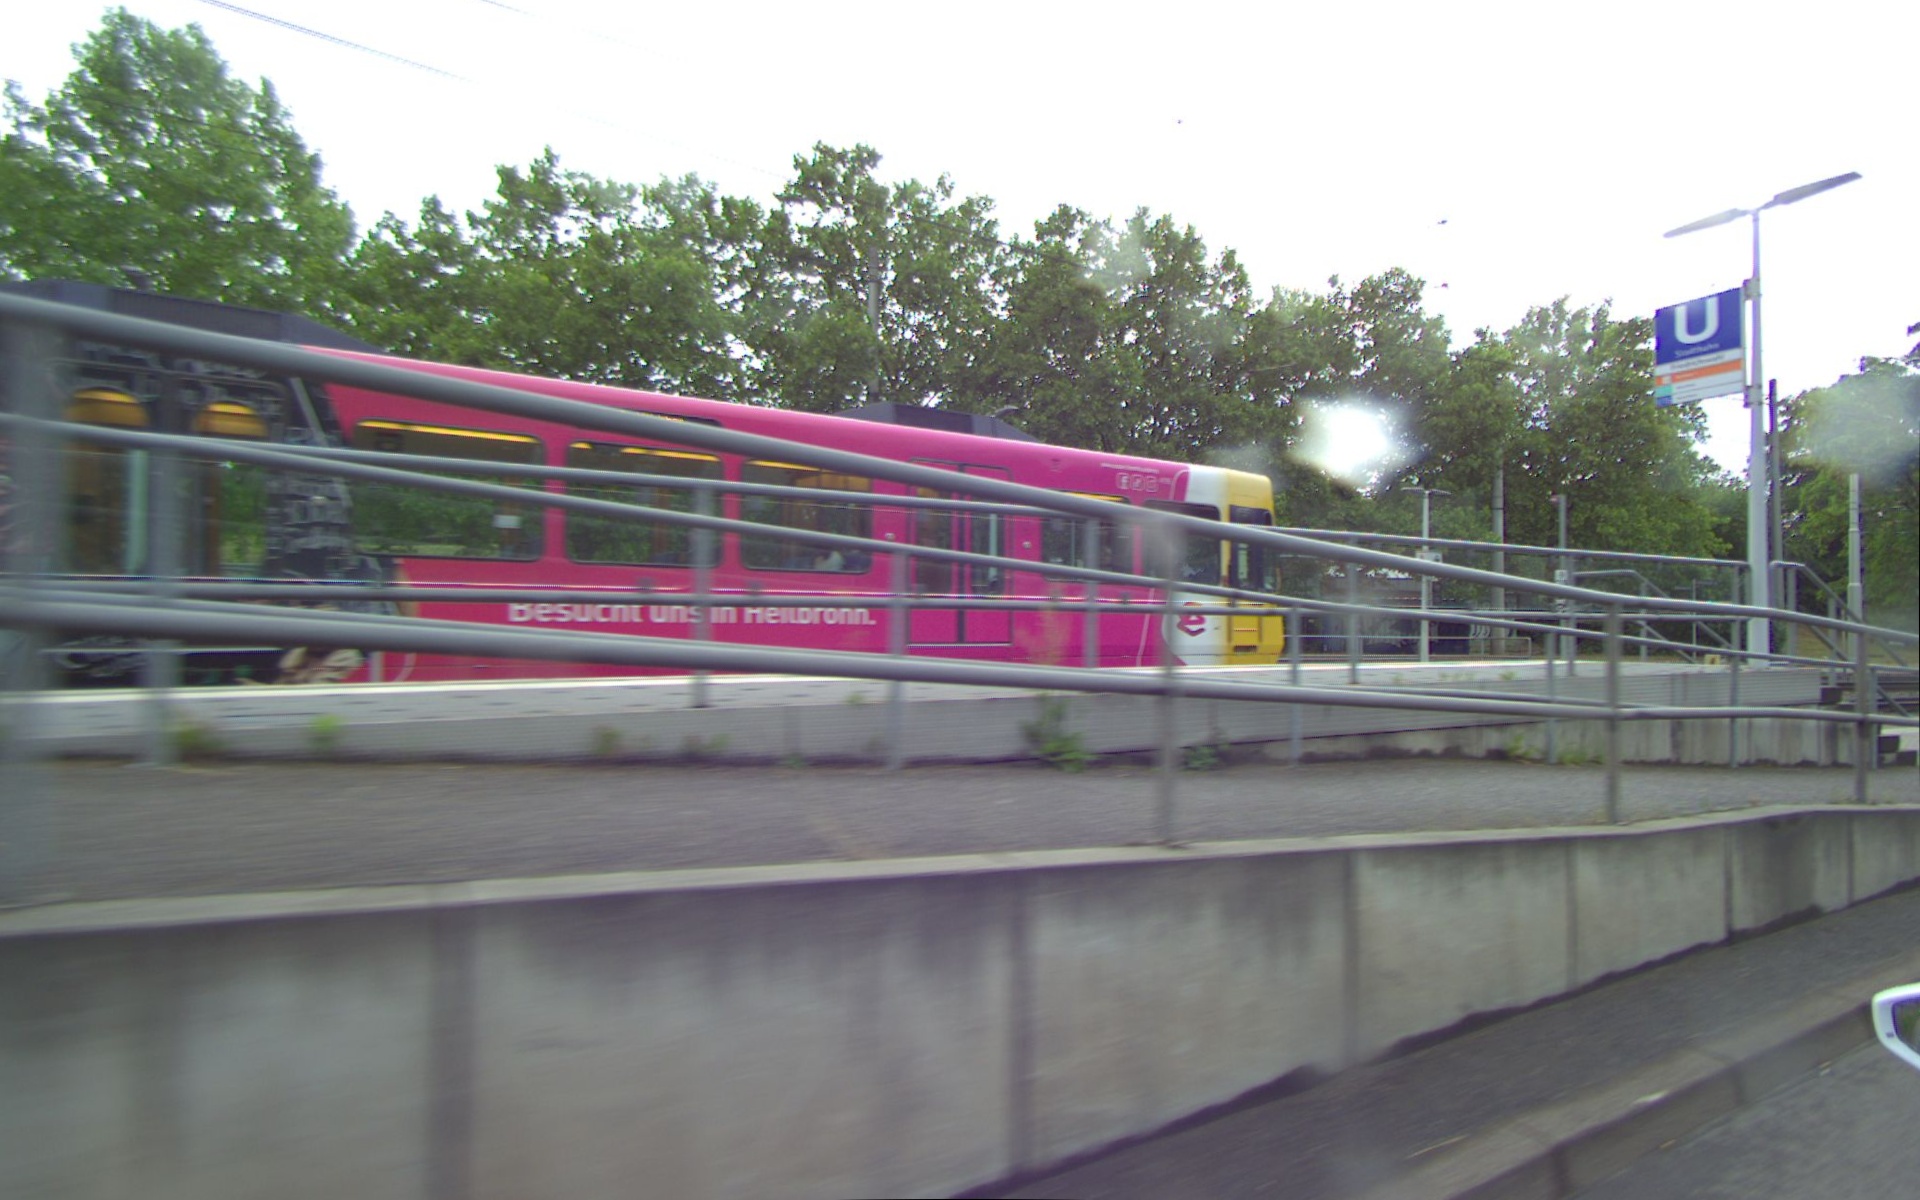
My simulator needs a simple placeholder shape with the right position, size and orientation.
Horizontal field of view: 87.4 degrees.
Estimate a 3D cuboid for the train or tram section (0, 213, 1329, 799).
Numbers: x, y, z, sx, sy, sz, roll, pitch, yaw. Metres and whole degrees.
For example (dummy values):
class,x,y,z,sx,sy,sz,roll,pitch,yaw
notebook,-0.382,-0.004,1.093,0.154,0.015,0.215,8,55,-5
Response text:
class,x,y,z,sx,sy,sz,roll,pitch,yaw
train or tram section,-3.436,-0.501,10.662,19.125,4.013,2.851,2,0,-33
